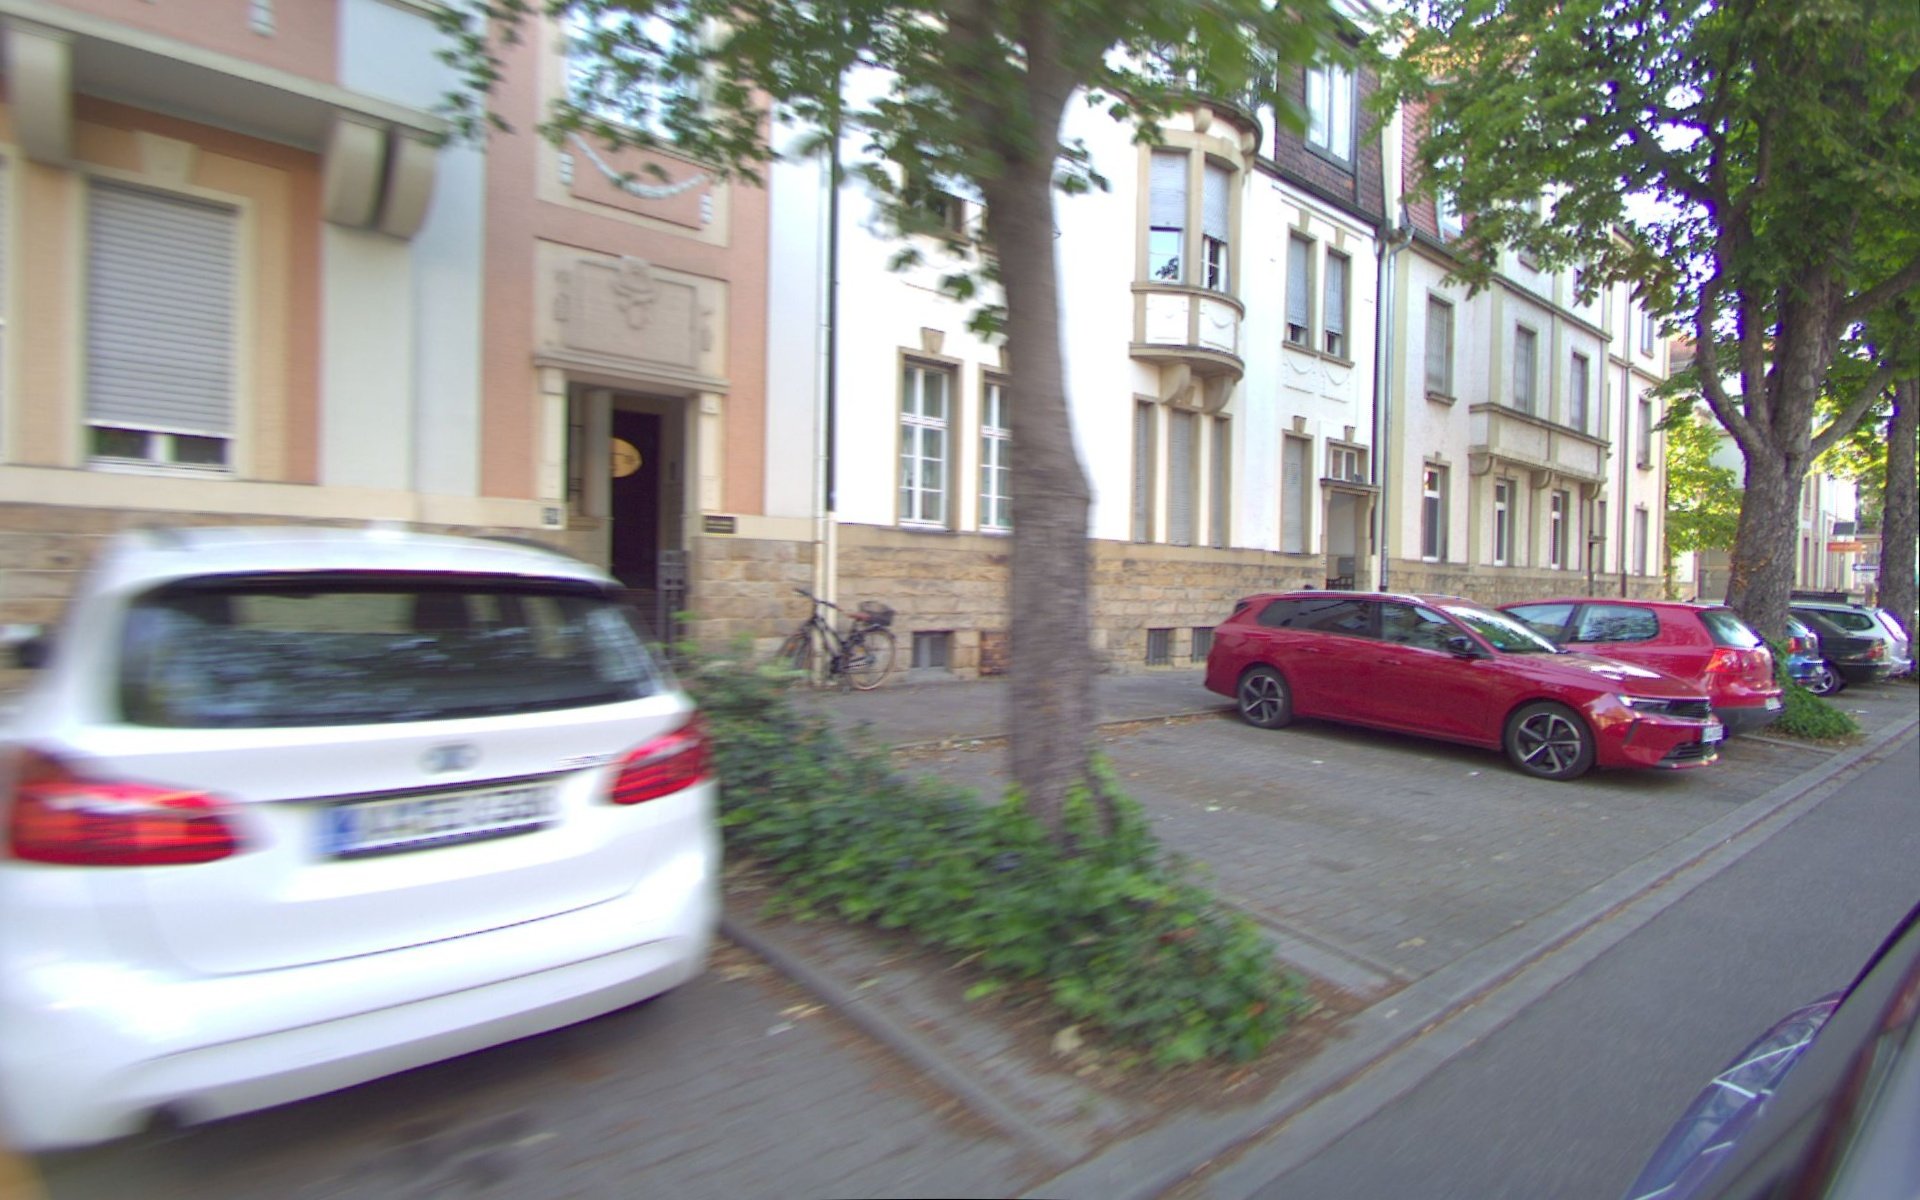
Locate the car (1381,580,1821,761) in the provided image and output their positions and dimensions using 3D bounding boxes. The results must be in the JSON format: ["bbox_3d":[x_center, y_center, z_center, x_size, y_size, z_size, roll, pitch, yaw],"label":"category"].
[{"bbox_3d":[6.755,0.604,11.002,1.628,1.499,3.682,0,2,-38],"label":"car"}]

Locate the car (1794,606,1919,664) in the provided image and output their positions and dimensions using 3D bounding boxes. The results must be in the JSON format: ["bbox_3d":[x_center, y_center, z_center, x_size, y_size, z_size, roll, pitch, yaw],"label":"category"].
[{"bbox_3d":[21.741,0.819,23.492,1.514,1.164,3.400,0,2,-39],"label":"car"}]

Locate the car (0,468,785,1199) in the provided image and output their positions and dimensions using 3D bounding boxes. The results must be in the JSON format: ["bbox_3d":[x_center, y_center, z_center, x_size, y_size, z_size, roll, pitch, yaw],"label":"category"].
[{"bbox_3d":[-2.427,0.471,3.807,1.689,1.597,3.948,0,2,-41],"label":"car"}]

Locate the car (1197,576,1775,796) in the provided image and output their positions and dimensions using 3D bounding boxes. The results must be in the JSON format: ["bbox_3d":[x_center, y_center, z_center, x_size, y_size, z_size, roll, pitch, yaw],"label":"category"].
[{"bbox_3d":[4.681,0.585,9.693,1.833,1.470,4.534,0,2,-38],"label":"car"}]

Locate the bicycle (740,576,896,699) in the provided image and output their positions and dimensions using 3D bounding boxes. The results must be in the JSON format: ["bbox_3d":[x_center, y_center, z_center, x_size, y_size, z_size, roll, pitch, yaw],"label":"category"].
[{"bbox_3d":[-1.475,0.365,10.613,1.449,1.173,0.694,1,3,-41],"label":"bicycle"}]

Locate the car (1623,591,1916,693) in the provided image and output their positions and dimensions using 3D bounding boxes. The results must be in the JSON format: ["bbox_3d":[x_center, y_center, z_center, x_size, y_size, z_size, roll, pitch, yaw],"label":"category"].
[{"bbox_3d":[13.869,0.641,17.506,1.548,1.416,3.681,0,2,-39],"label":"car"}]

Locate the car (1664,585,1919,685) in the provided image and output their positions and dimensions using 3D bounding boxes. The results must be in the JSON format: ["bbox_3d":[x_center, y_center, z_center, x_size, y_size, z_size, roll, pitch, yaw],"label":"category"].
[{"bbox_3d":[15.781,0.577,19.191,1.548,1.576,3.681,0,2,-39],"label":"car"}]

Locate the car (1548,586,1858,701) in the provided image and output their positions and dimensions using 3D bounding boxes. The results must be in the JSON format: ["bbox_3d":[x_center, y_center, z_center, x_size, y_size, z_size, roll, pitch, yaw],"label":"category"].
[{"bbox_3d":[11.719,0.589,16.166,1.548,1.484,3.681,0,2,-39],"label":"car"}]

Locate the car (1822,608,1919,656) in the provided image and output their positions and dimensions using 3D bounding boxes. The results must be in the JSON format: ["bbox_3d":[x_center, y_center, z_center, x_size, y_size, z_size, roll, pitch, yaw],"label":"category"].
[{"bbox_3d":[24.171,0.832,25.571,1.514,1.076,3.400,0,2,-39],"label":"car"}]
